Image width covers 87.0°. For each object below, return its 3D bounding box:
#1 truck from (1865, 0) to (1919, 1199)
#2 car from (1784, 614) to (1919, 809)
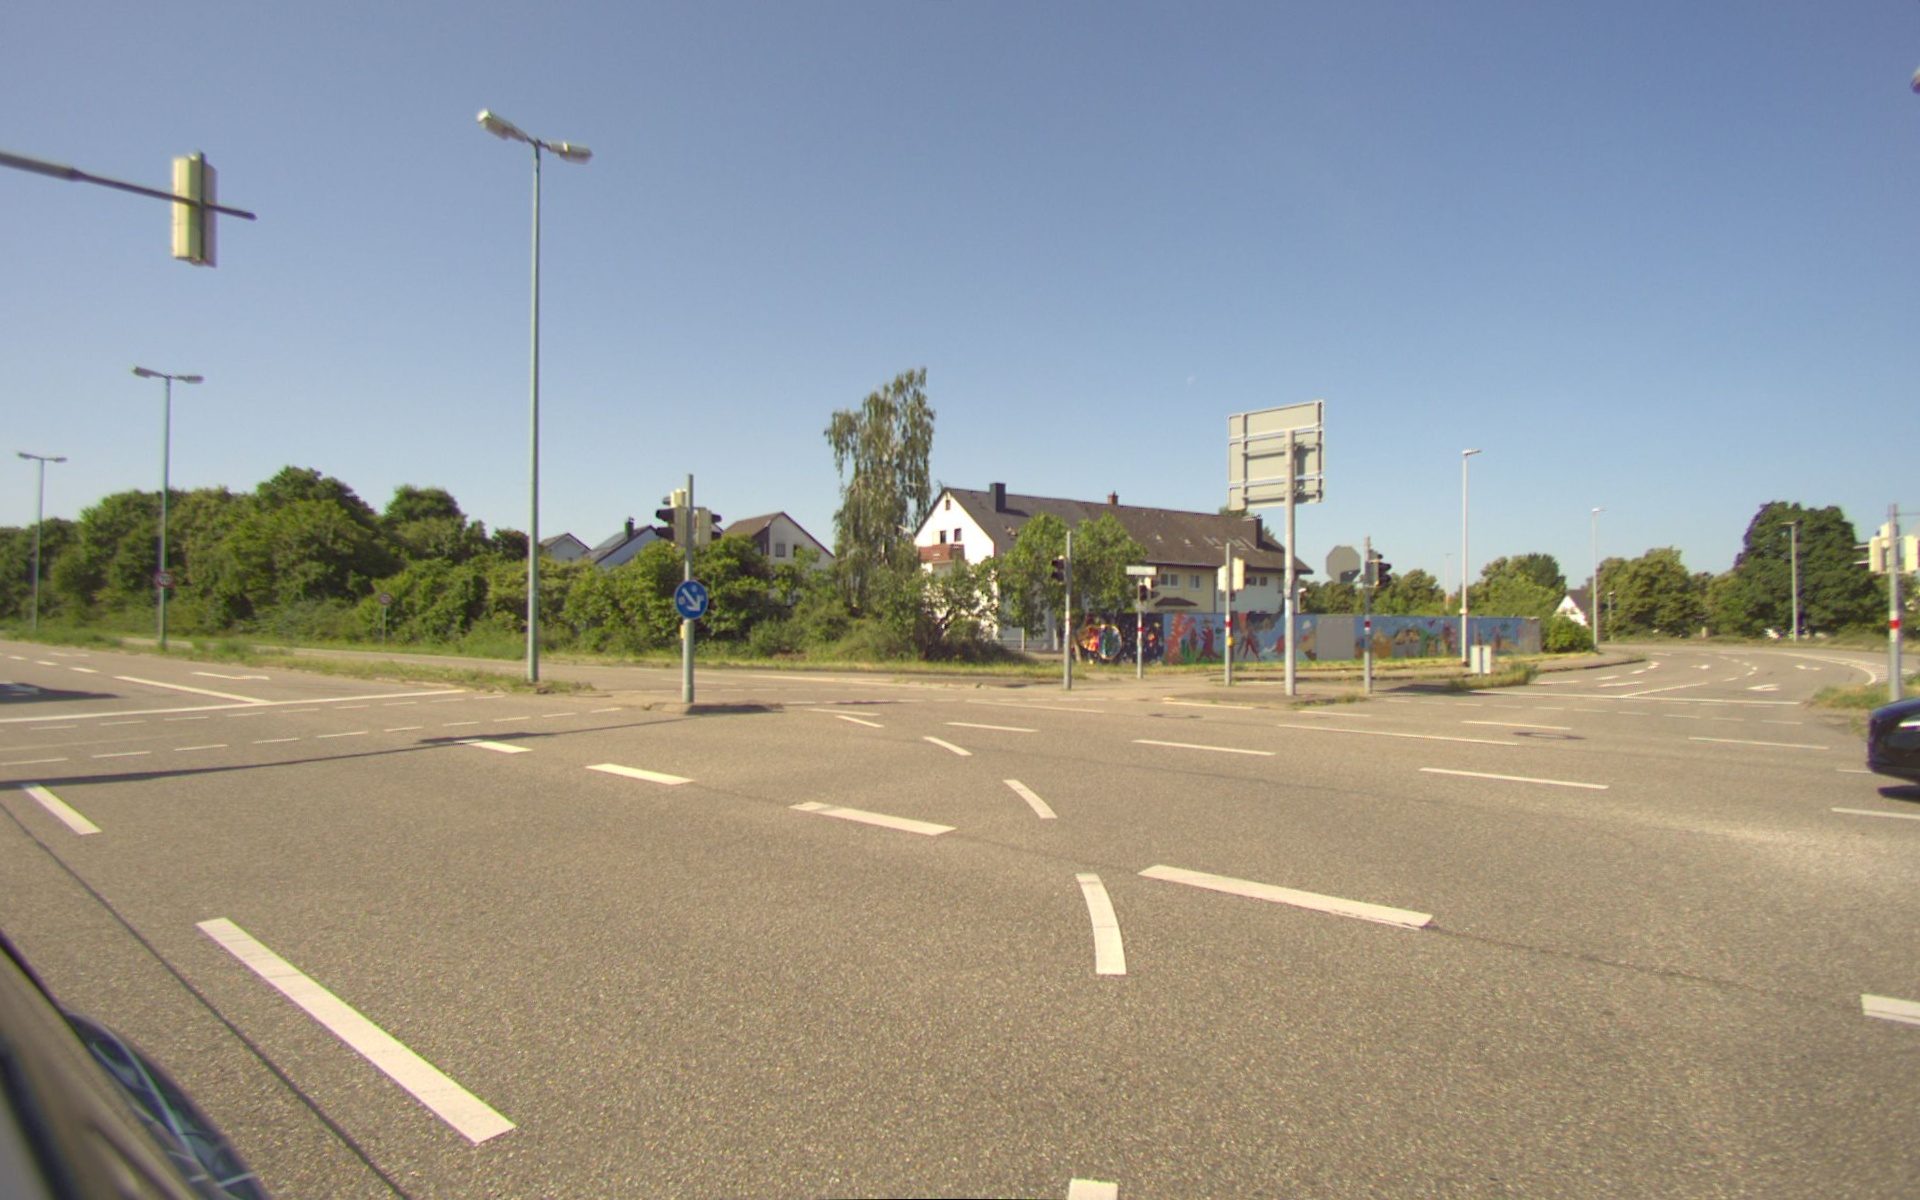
[{"bbox_3d":[4.328,0.183,0.334,5.913,2.476,2.090,-1,-1,41],"label":"truck"},{"bbox_3d":[8.916,0.847,7.453,4.331,1.468,1.960,-1,-2,42],"label":"car"}]
